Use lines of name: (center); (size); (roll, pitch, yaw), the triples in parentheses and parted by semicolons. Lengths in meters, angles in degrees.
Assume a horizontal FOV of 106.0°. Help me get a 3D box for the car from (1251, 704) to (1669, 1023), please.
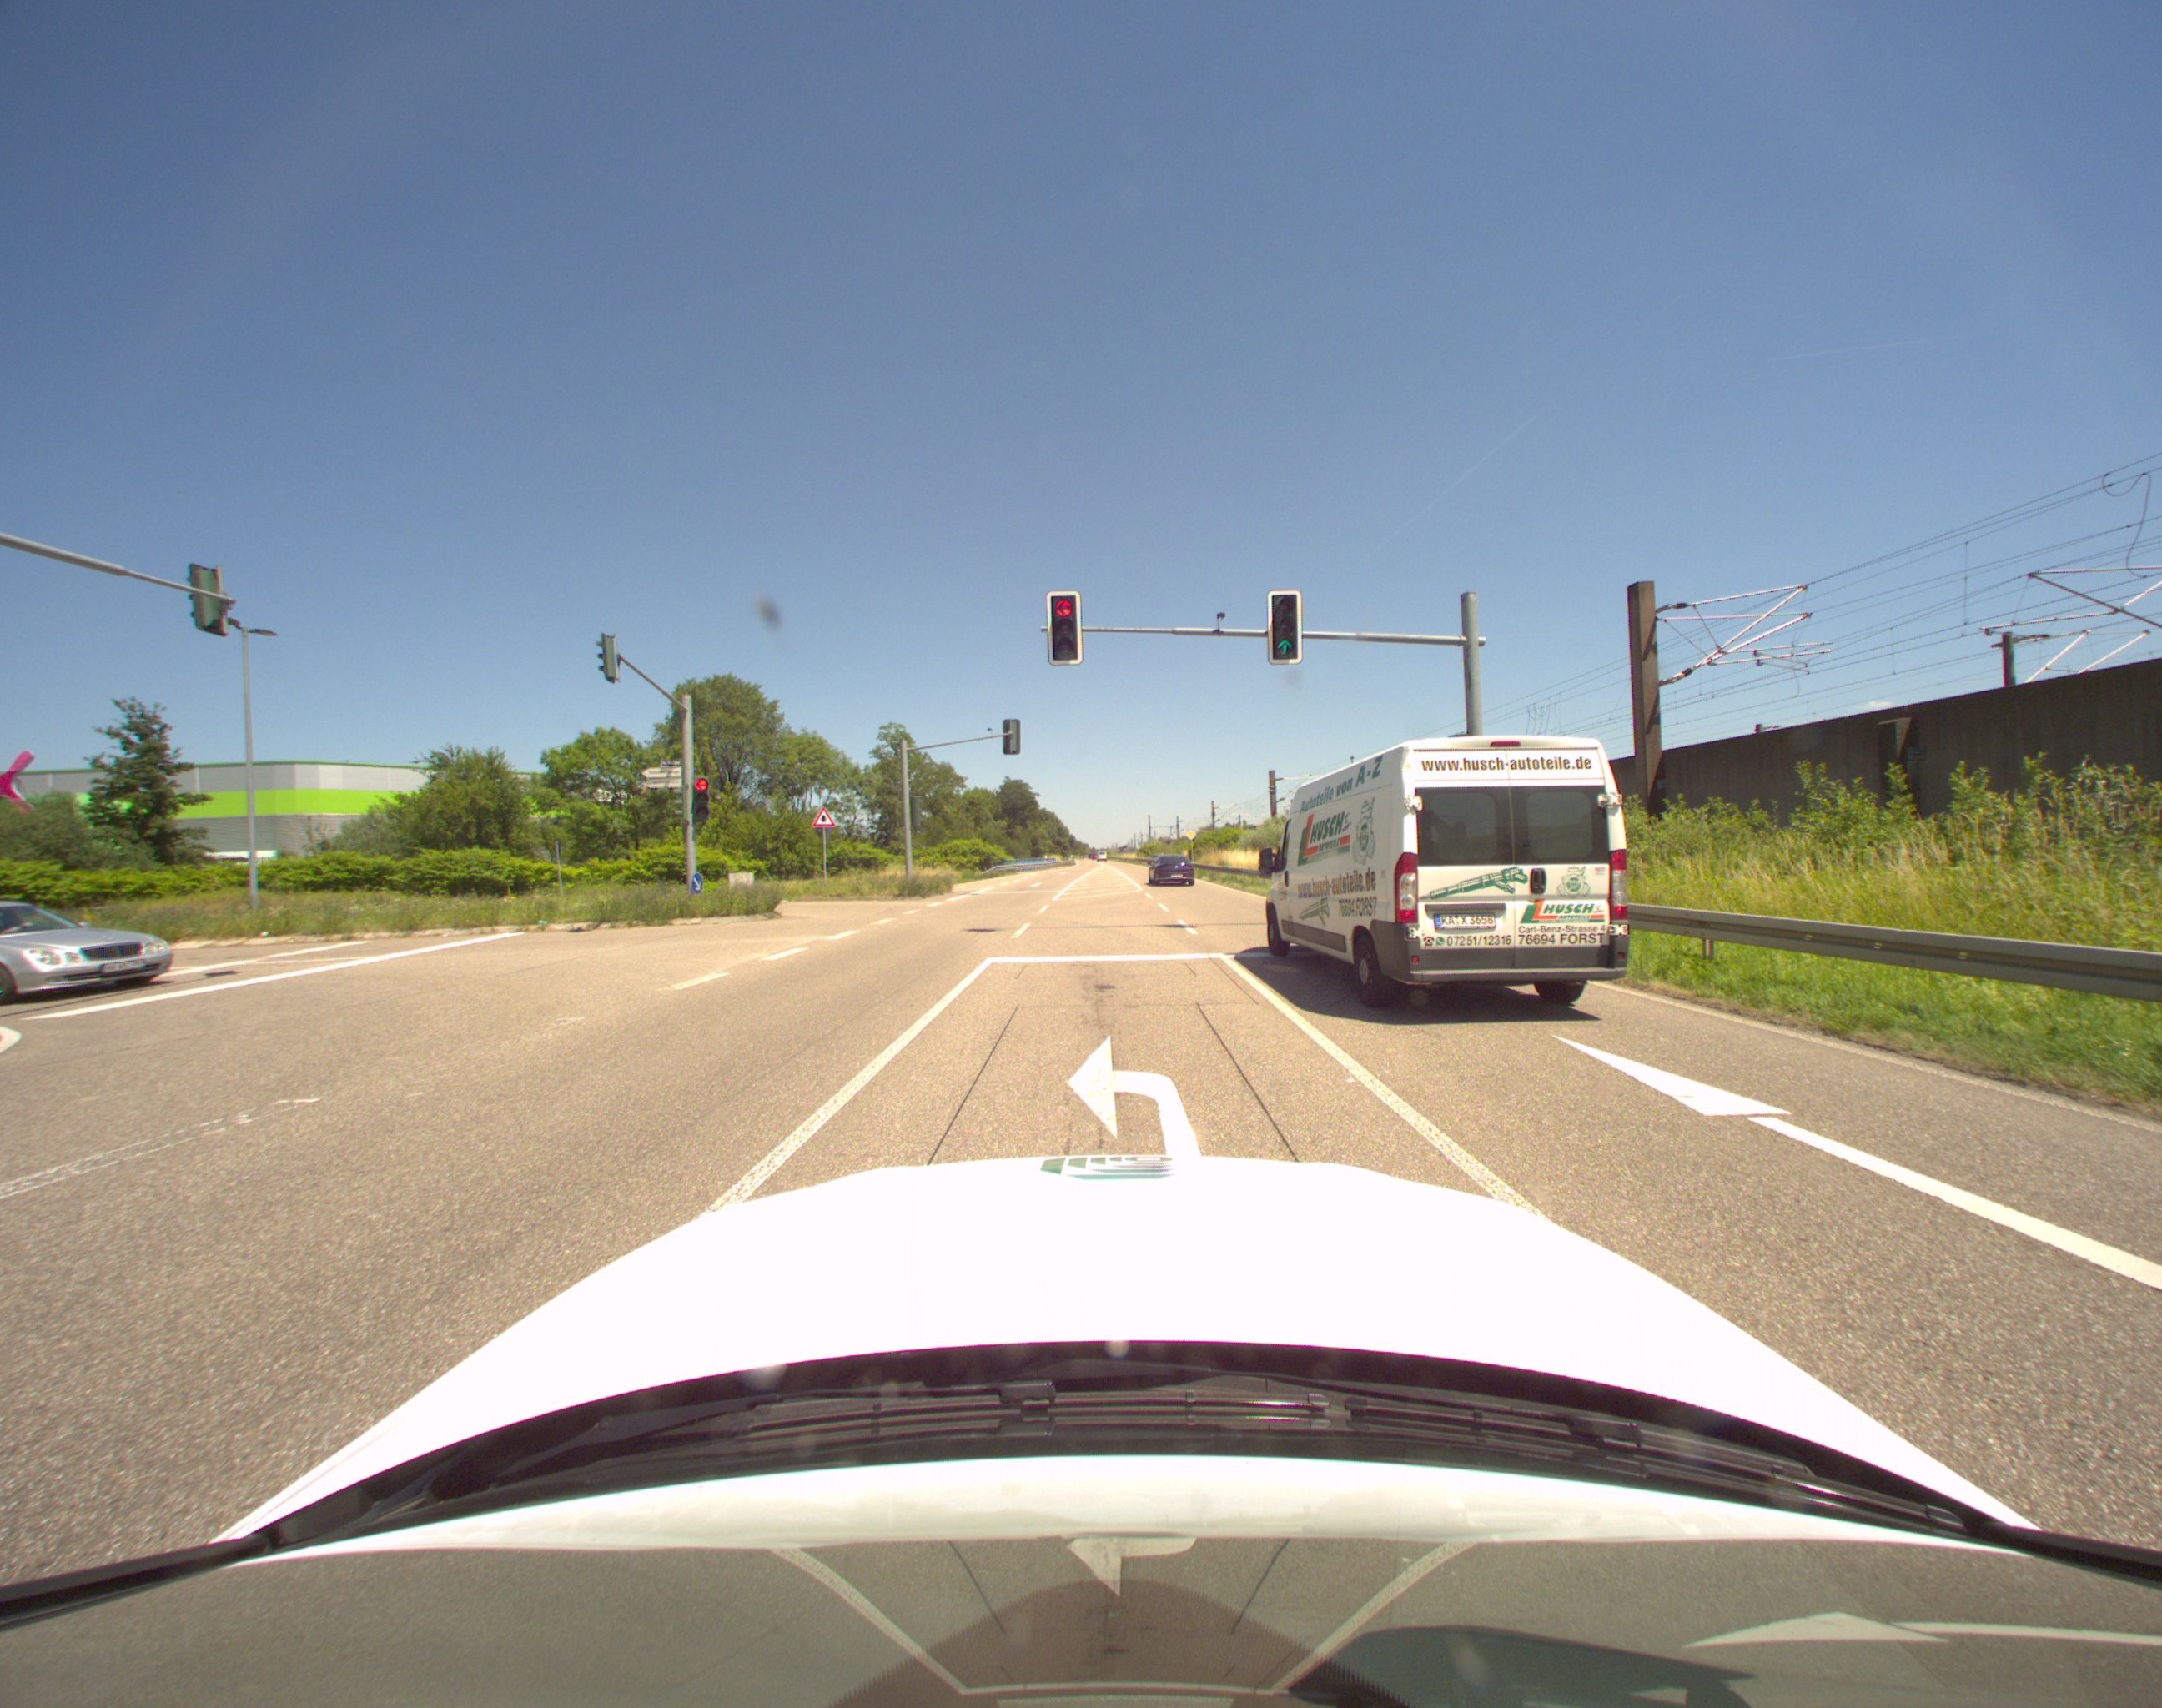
car: (3.812, 0.066, 10.068); (2.180, 2.604, 6.753); (-1, 0, 1)

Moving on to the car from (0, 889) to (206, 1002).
car: (-16.532, 1.356, 12.201); (4.933, 1.457, 1.879); (-2, 0, 3)

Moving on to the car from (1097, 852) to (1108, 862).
car: (4.369, 0.542, 164.931); (1.987, 1.983, 4.059); (-1, 0, 0)

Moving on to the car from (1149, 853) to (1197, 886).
car: (4.232, 0.682, 38.106); (1.850, 1.379, 4.505); (-1, 0, 2)

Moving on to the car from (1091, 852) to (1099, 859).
car: (3.619, 0.411, 213.995); (2.013, 1.726, 4.542); (-1, 0, 0)
